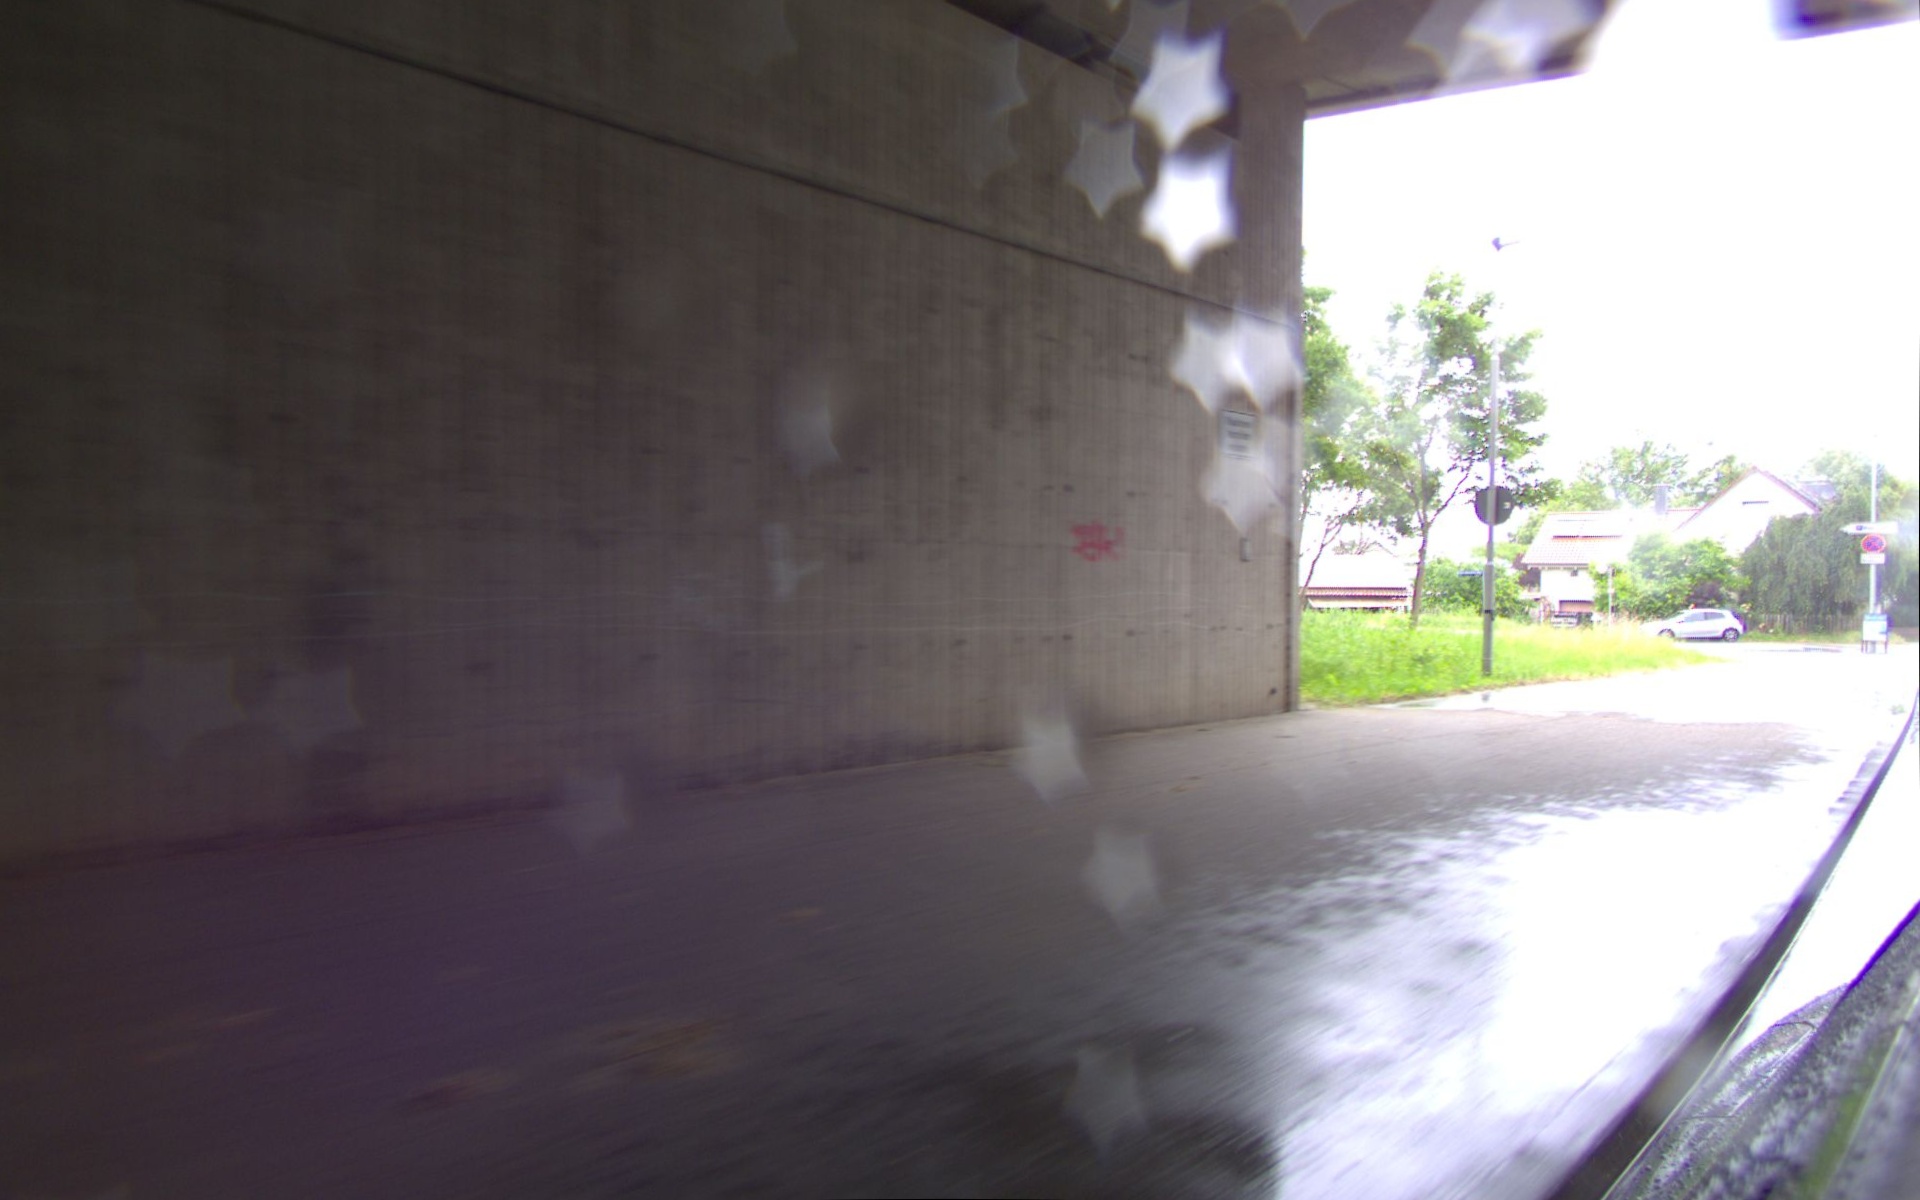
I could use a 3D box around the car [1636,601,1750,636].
[{"bbox_3d":[33.511,0.847,46.362,3.802,1.551,1.710,-1,-1,16],"label":"car"}]
